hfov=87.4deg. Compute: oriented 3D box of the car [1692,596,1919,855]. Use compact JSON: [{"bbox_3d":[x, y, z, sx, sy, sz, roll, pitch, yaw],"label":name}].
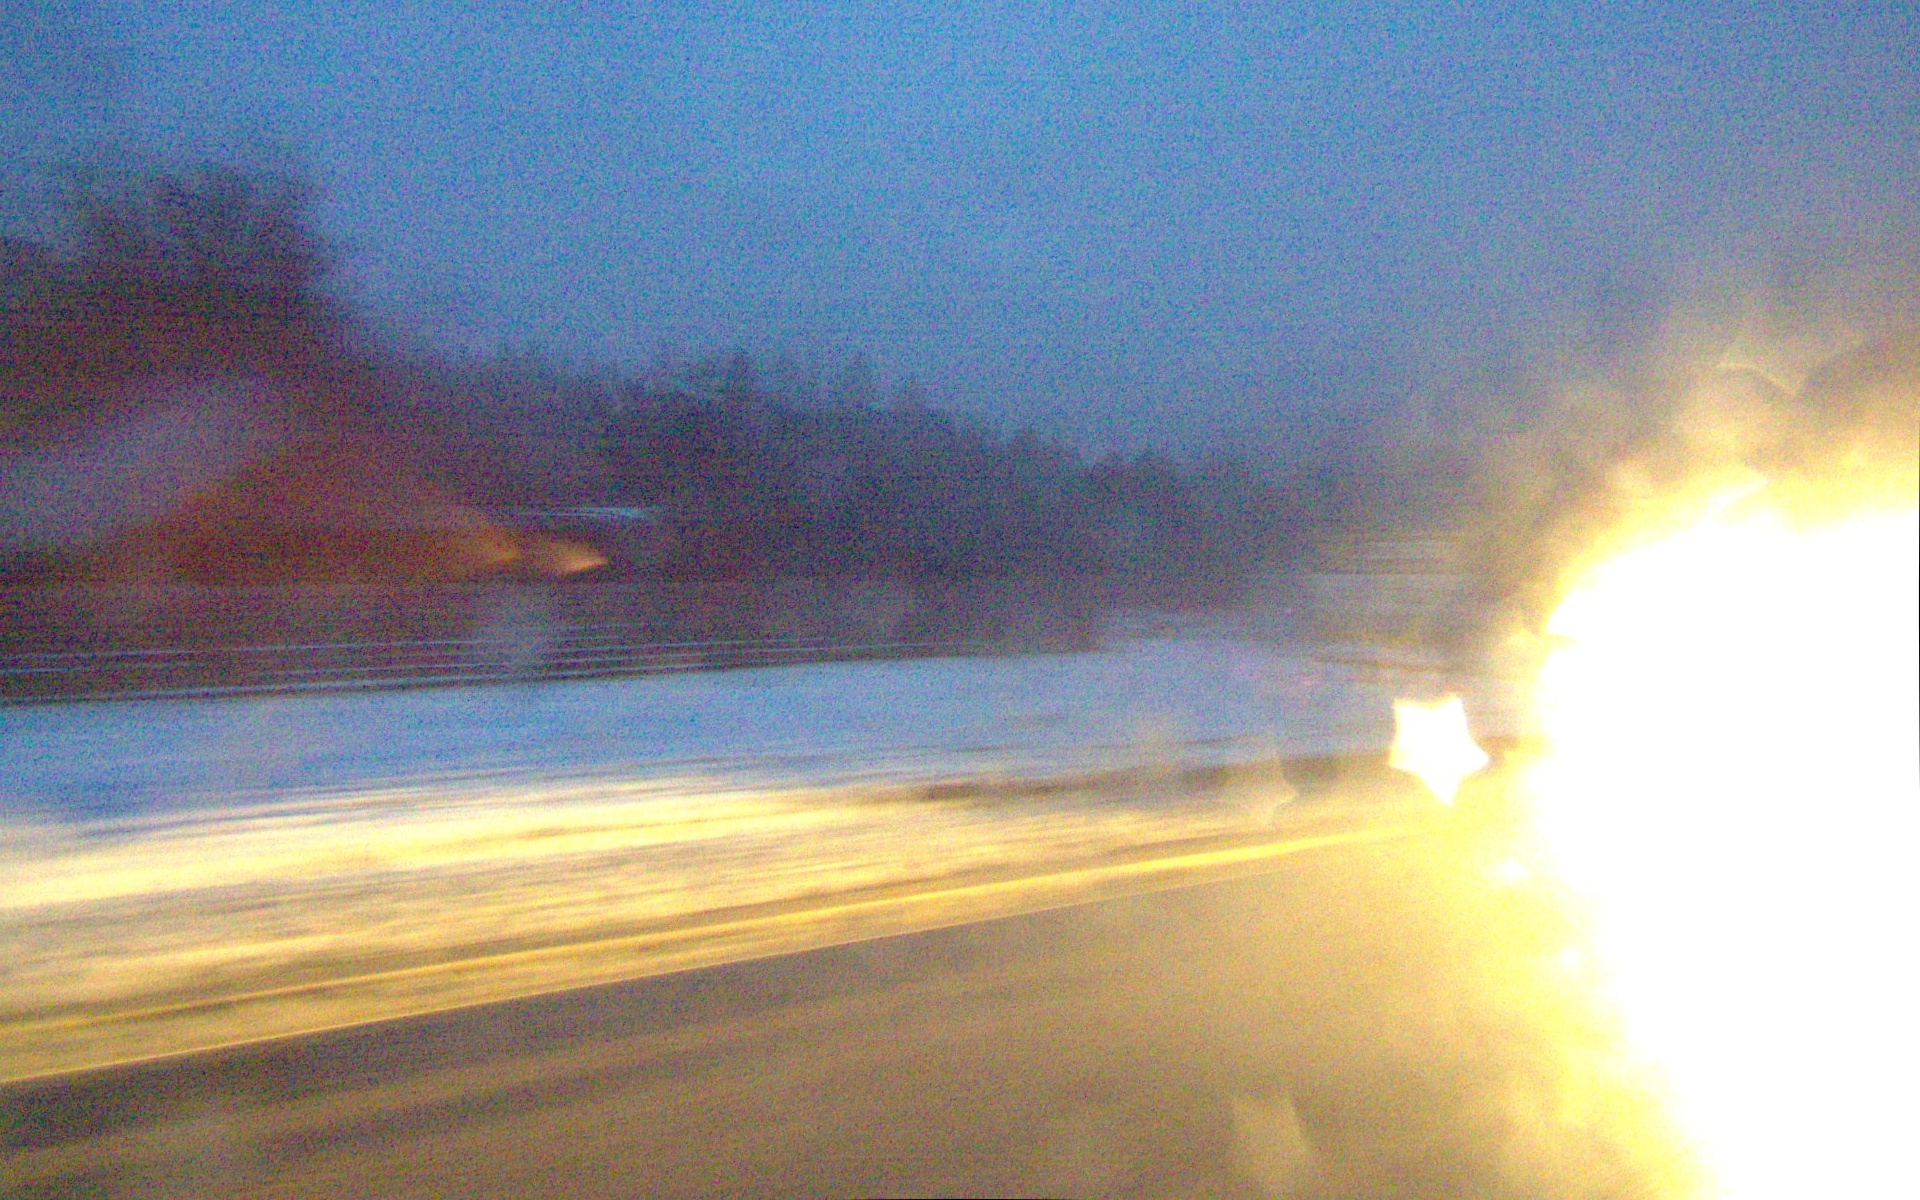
[{"bbox_3d":[7.193,0.805,7.245,3.573,1.529,1.792,1,1,-31],"label":"car"}]
